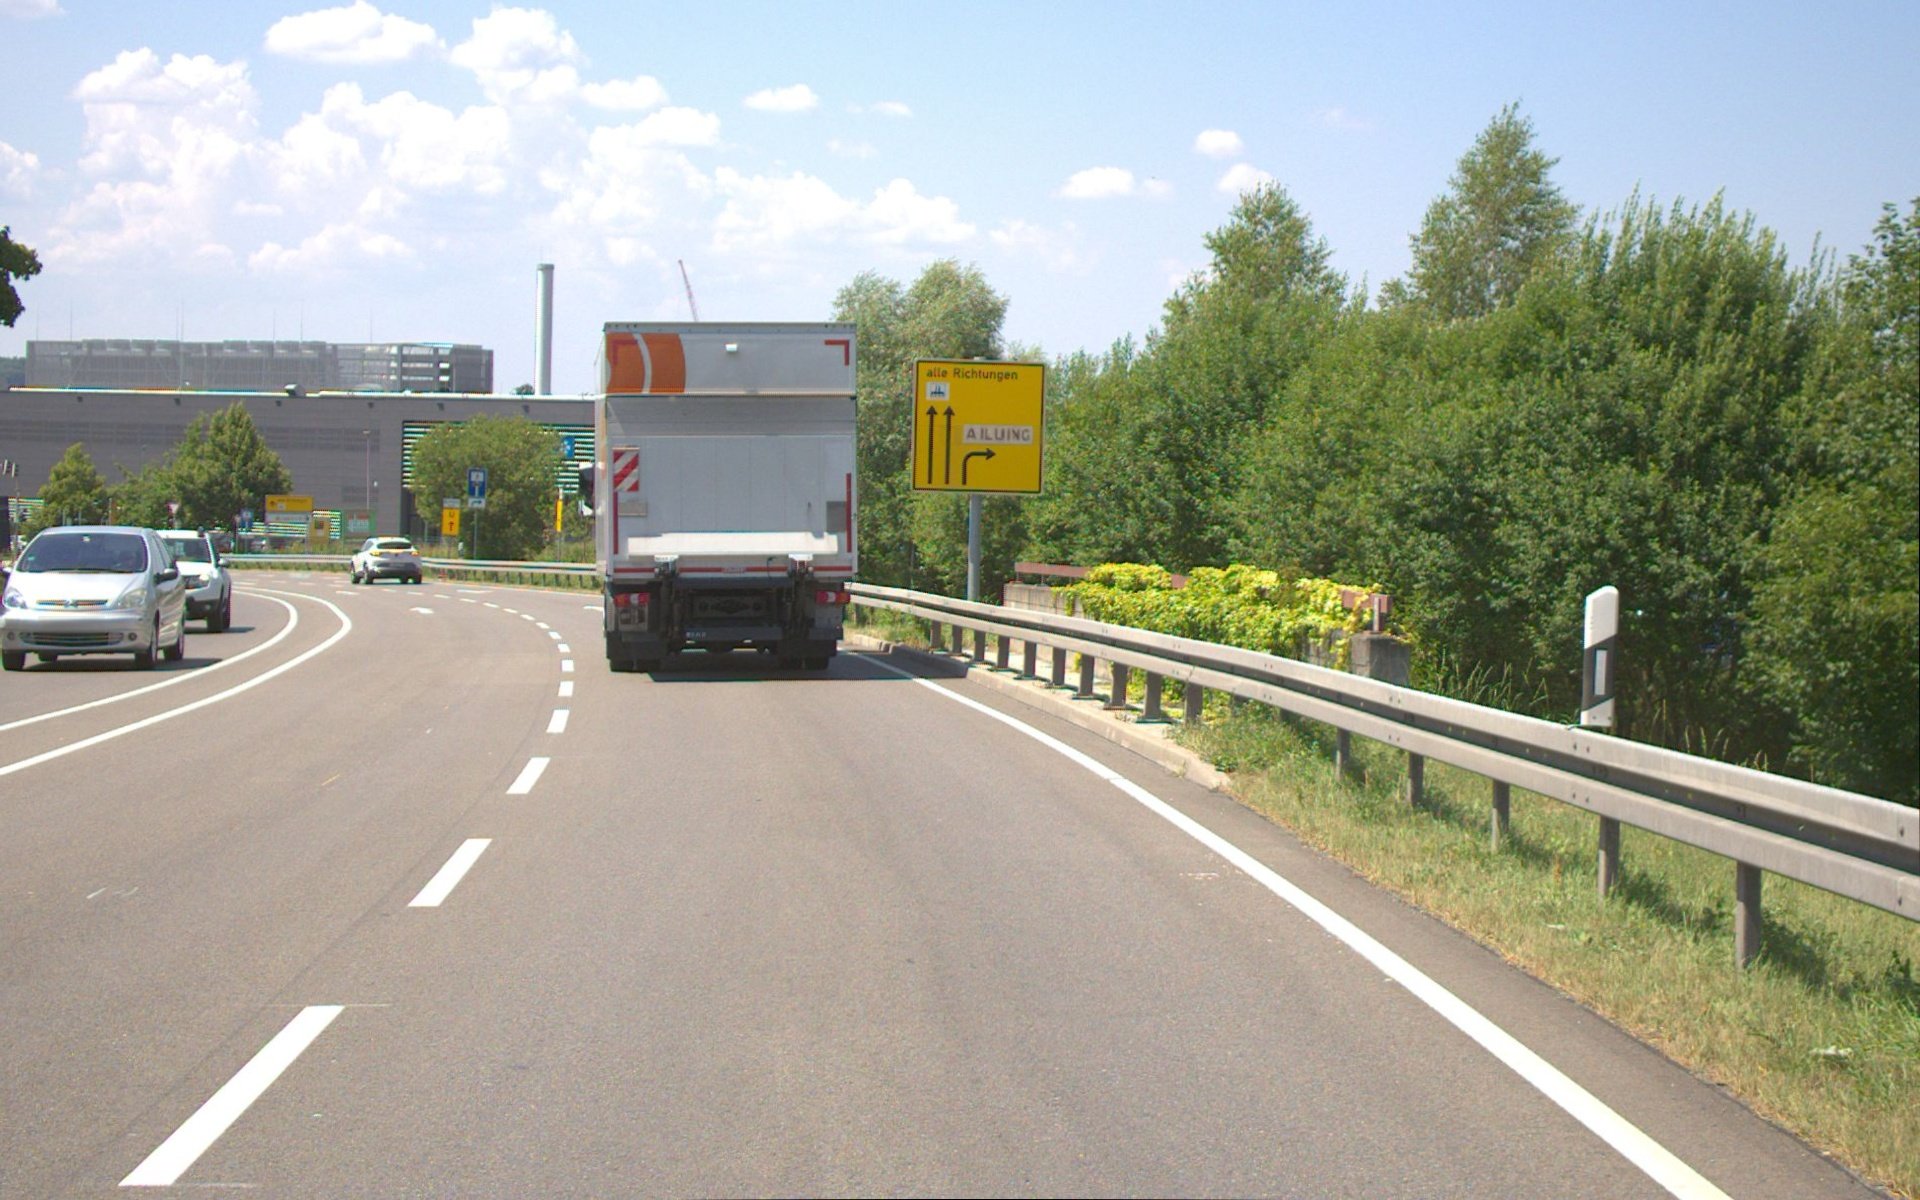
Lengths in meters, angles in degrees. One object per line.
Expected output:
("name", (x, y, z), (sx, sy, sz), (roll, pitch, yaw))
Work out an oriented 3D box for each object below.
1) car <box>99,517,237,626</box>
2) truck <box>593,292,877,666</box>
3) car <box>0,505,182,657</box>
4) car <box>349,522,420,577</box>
("car", (-12.432, -0.485, 54.144), (1.993, 1.623, 4.198), (-1, 1, -11))
("truck", (-2.423, -1.339, 38.760), (2.803, 3.698, 9.109), (0, 2, -2))
("car", (-9.966, -0.266, 39.347), (1.836, 1.587, 4.818), (1, 1, -10))
("car", (-18.682, -1.641, 111.486), (1.943, 1.658, 4.001), (2, 0, -14))
